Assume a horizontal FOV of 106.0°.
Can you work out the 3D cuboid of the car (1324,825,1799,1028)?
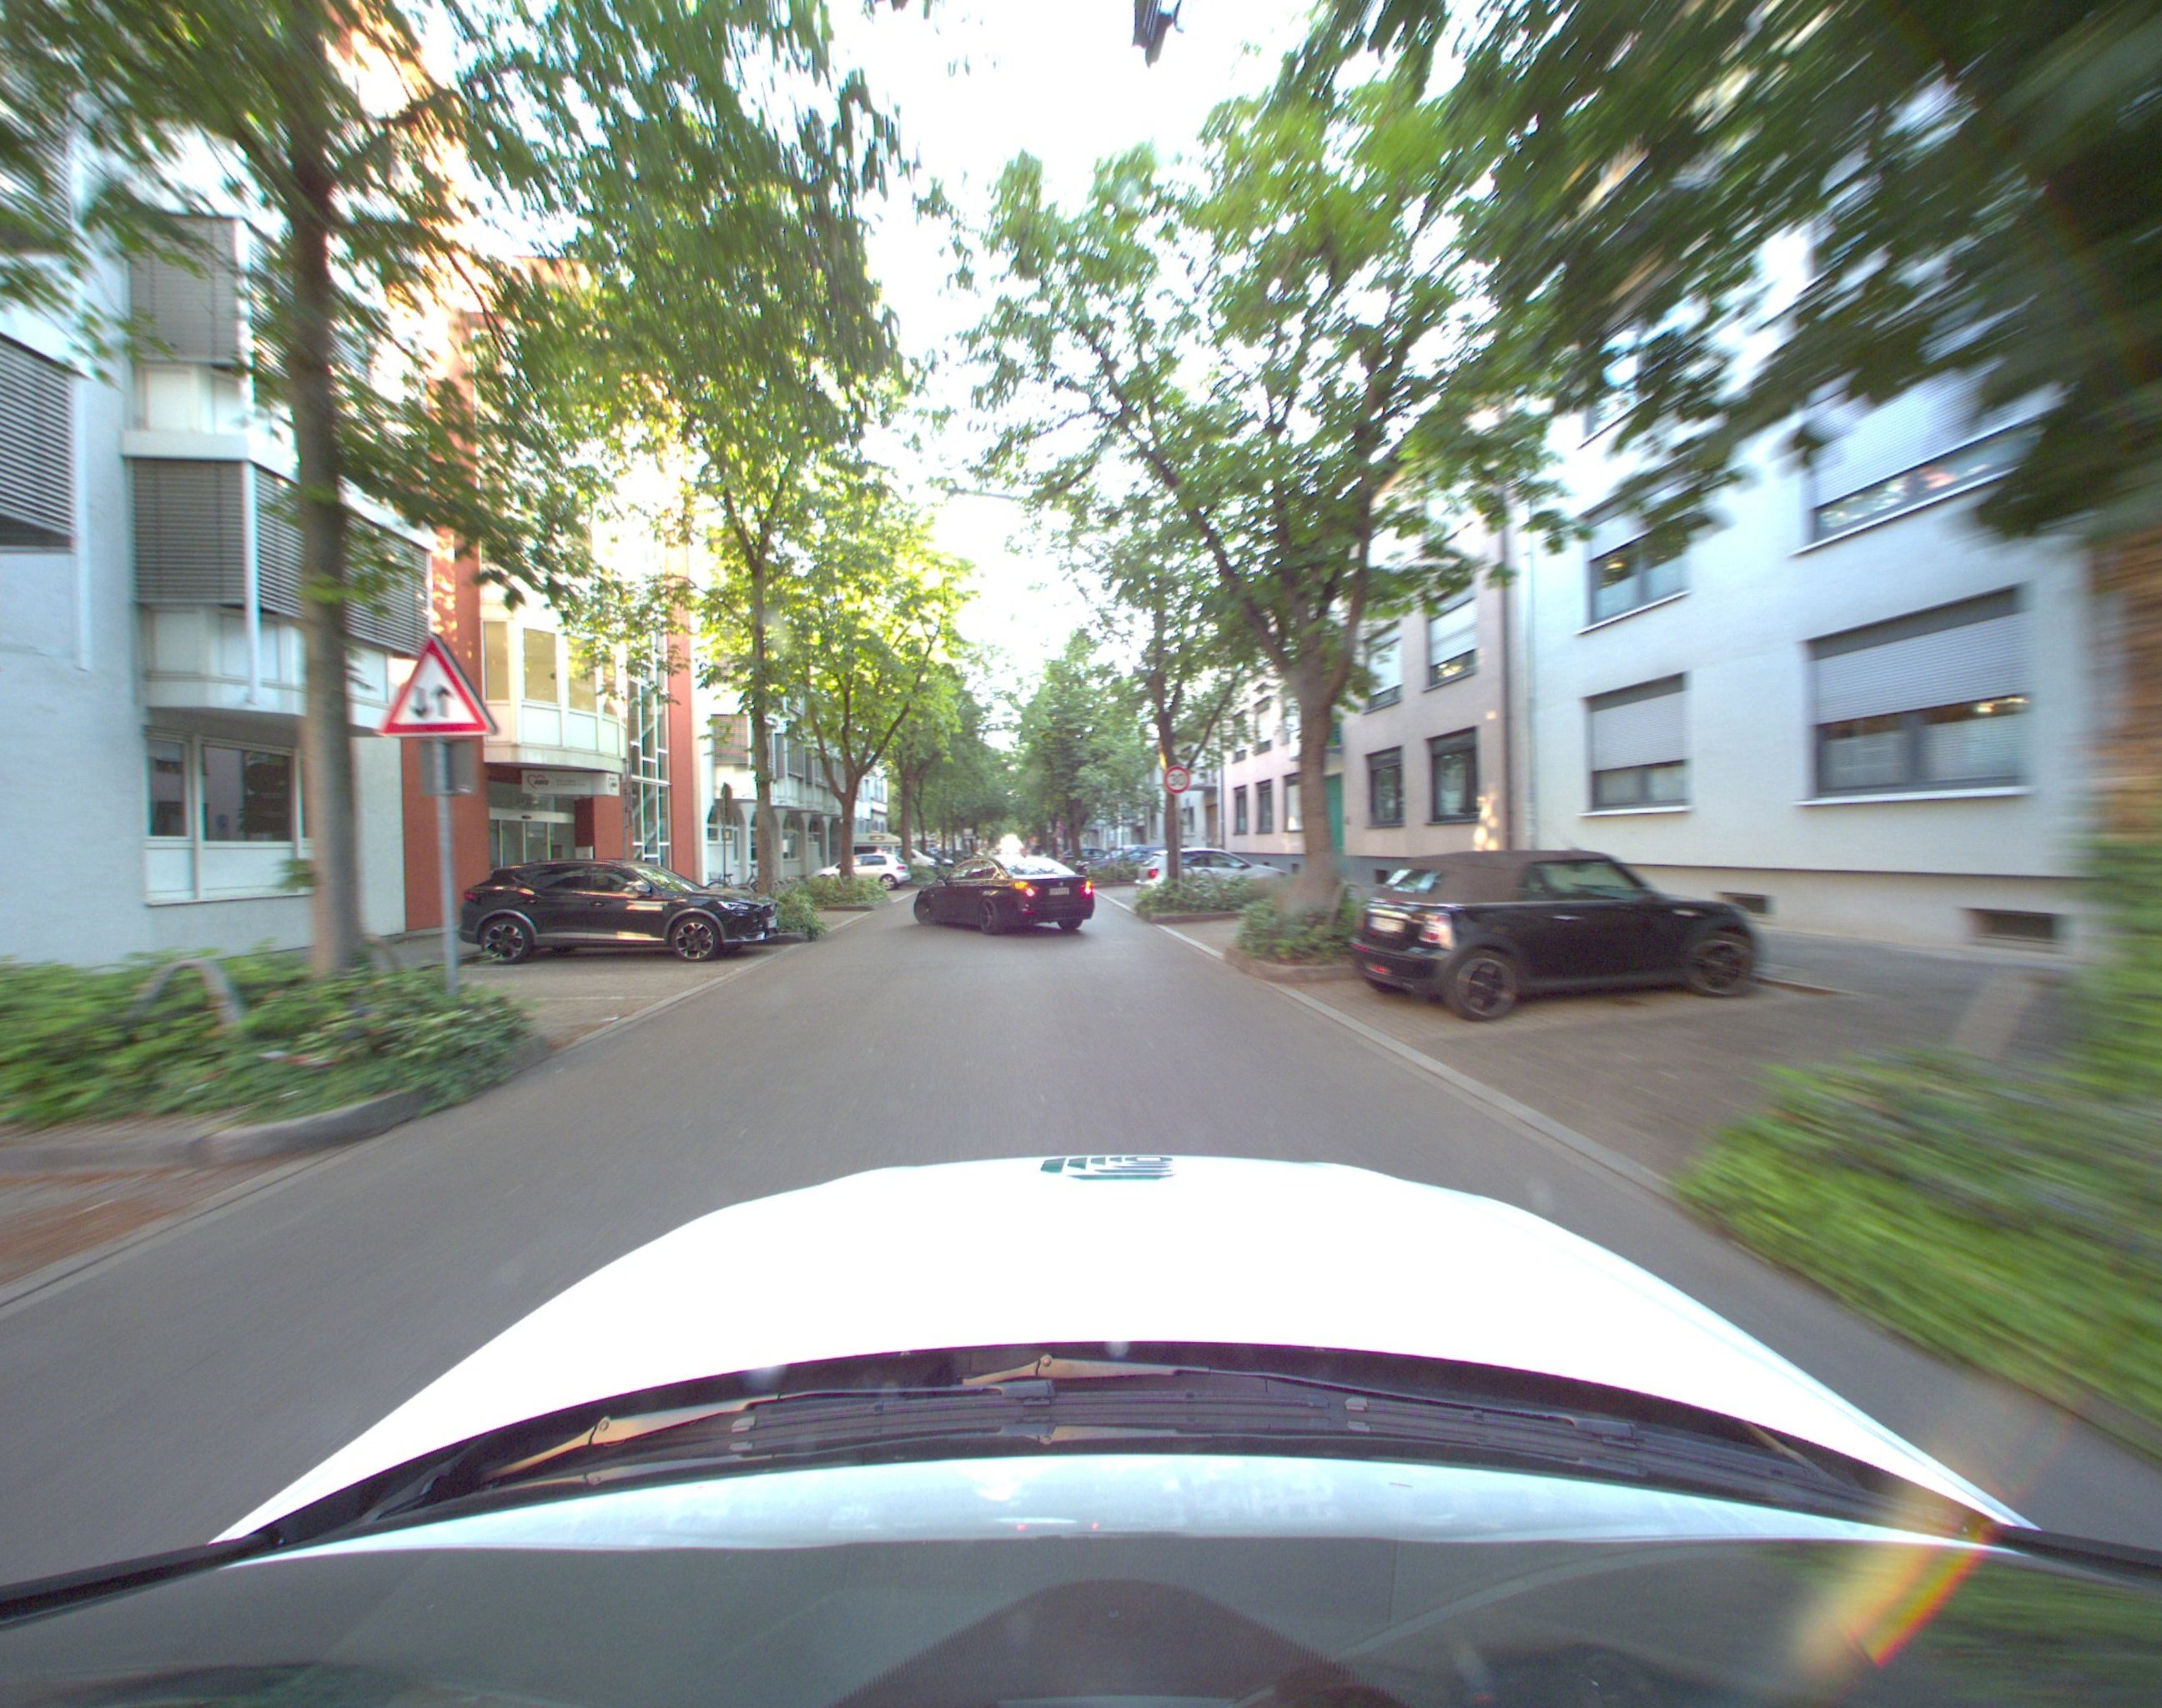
[{"bbox_3d":[4.447,0.572,7.767,3.703,1.427,1.622,-4,1,-10],"label":"car"}]

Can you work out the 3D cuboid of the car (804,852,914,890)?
[{"bbox_3d":[-9.054,0.667,33.506,4.126,1.471,1.637,0,0,-6],"label":"car"}]

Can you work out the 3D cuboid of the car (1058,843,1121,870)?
[{"bbox_3d":[0.484,0.140,49.695,3.653,1.536,1.562,-1,1,-7],"label":"car"}]

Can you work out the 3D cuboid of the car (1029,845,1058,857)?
[{"bbox_3d":[-4.853,-0.410,105.403,3.653,1.393,1.562,-1,1,-7],"label":"car"}]

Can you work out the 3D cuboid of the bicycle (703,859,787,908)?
[{"bbox_3d":[-8.889,0.760,21.598,1.974,1.199,0.499,-2,0,-16],"label":"bicycle"}]

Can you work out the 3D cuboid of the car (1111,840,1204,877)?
[{"bbox_3d":[3.226,0.174,34.505,3.653,1.393,1.562,-2,1,-7],"label":"car"}]

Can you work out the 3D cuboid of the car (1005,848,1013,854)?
[{"bbox_3d":[-17.938,-0.856,202.741,1.891,1.475,3.994,-1,1,-4],"label":"car"}]

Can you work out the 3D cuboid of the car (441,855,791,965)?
[{"bbox_3d":[-7.037,0.801,12.748,4.350,1.509,1.831,0,0,-6],"label":"car"}]

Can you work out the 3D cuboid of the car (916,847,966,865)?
[{"bbox_3d":[-11.899,0.180,69.355,4.015,1.471,1.637,0,0,-6],"label":"car"}]

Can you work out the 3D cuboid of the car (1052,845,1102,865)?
[{"bbox_3d":[-0.330,0.063,62.597,3.653,1.393,1.562,-1,1,-7],"label":"car"}]

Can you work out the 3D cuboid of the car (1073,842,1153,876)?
[{"bbox_3d":[1.595,0.244,40.985,3.789,1.529,1.562,-2,1,-7],"label":"car"}]

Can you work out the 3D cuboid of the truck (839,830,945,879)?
[{"bbox_3d":[-9.639,-0.001,41.898,4.990,2.440,1.913,0,1,-4],"label":"truck"}]

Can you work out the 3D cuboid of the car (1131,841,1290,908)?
[{"bbox_3d":[3.234,0.481,20.660,3.653,1.479,1.562,-2,1,-7],"label":"car"}]

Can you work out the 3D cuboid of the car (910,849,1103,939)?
[{"bbox_3d":[-1.629,0.669,15.986,1.775,1.450,4.619,-2,1,-34],"label":"car"}]

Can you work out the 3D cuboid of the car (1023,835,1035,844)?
[{"bbox_3d":[-8.714,-2.403,135.964,1.990,1.552,3.993,-1,1,-5],"label":"car"}]
